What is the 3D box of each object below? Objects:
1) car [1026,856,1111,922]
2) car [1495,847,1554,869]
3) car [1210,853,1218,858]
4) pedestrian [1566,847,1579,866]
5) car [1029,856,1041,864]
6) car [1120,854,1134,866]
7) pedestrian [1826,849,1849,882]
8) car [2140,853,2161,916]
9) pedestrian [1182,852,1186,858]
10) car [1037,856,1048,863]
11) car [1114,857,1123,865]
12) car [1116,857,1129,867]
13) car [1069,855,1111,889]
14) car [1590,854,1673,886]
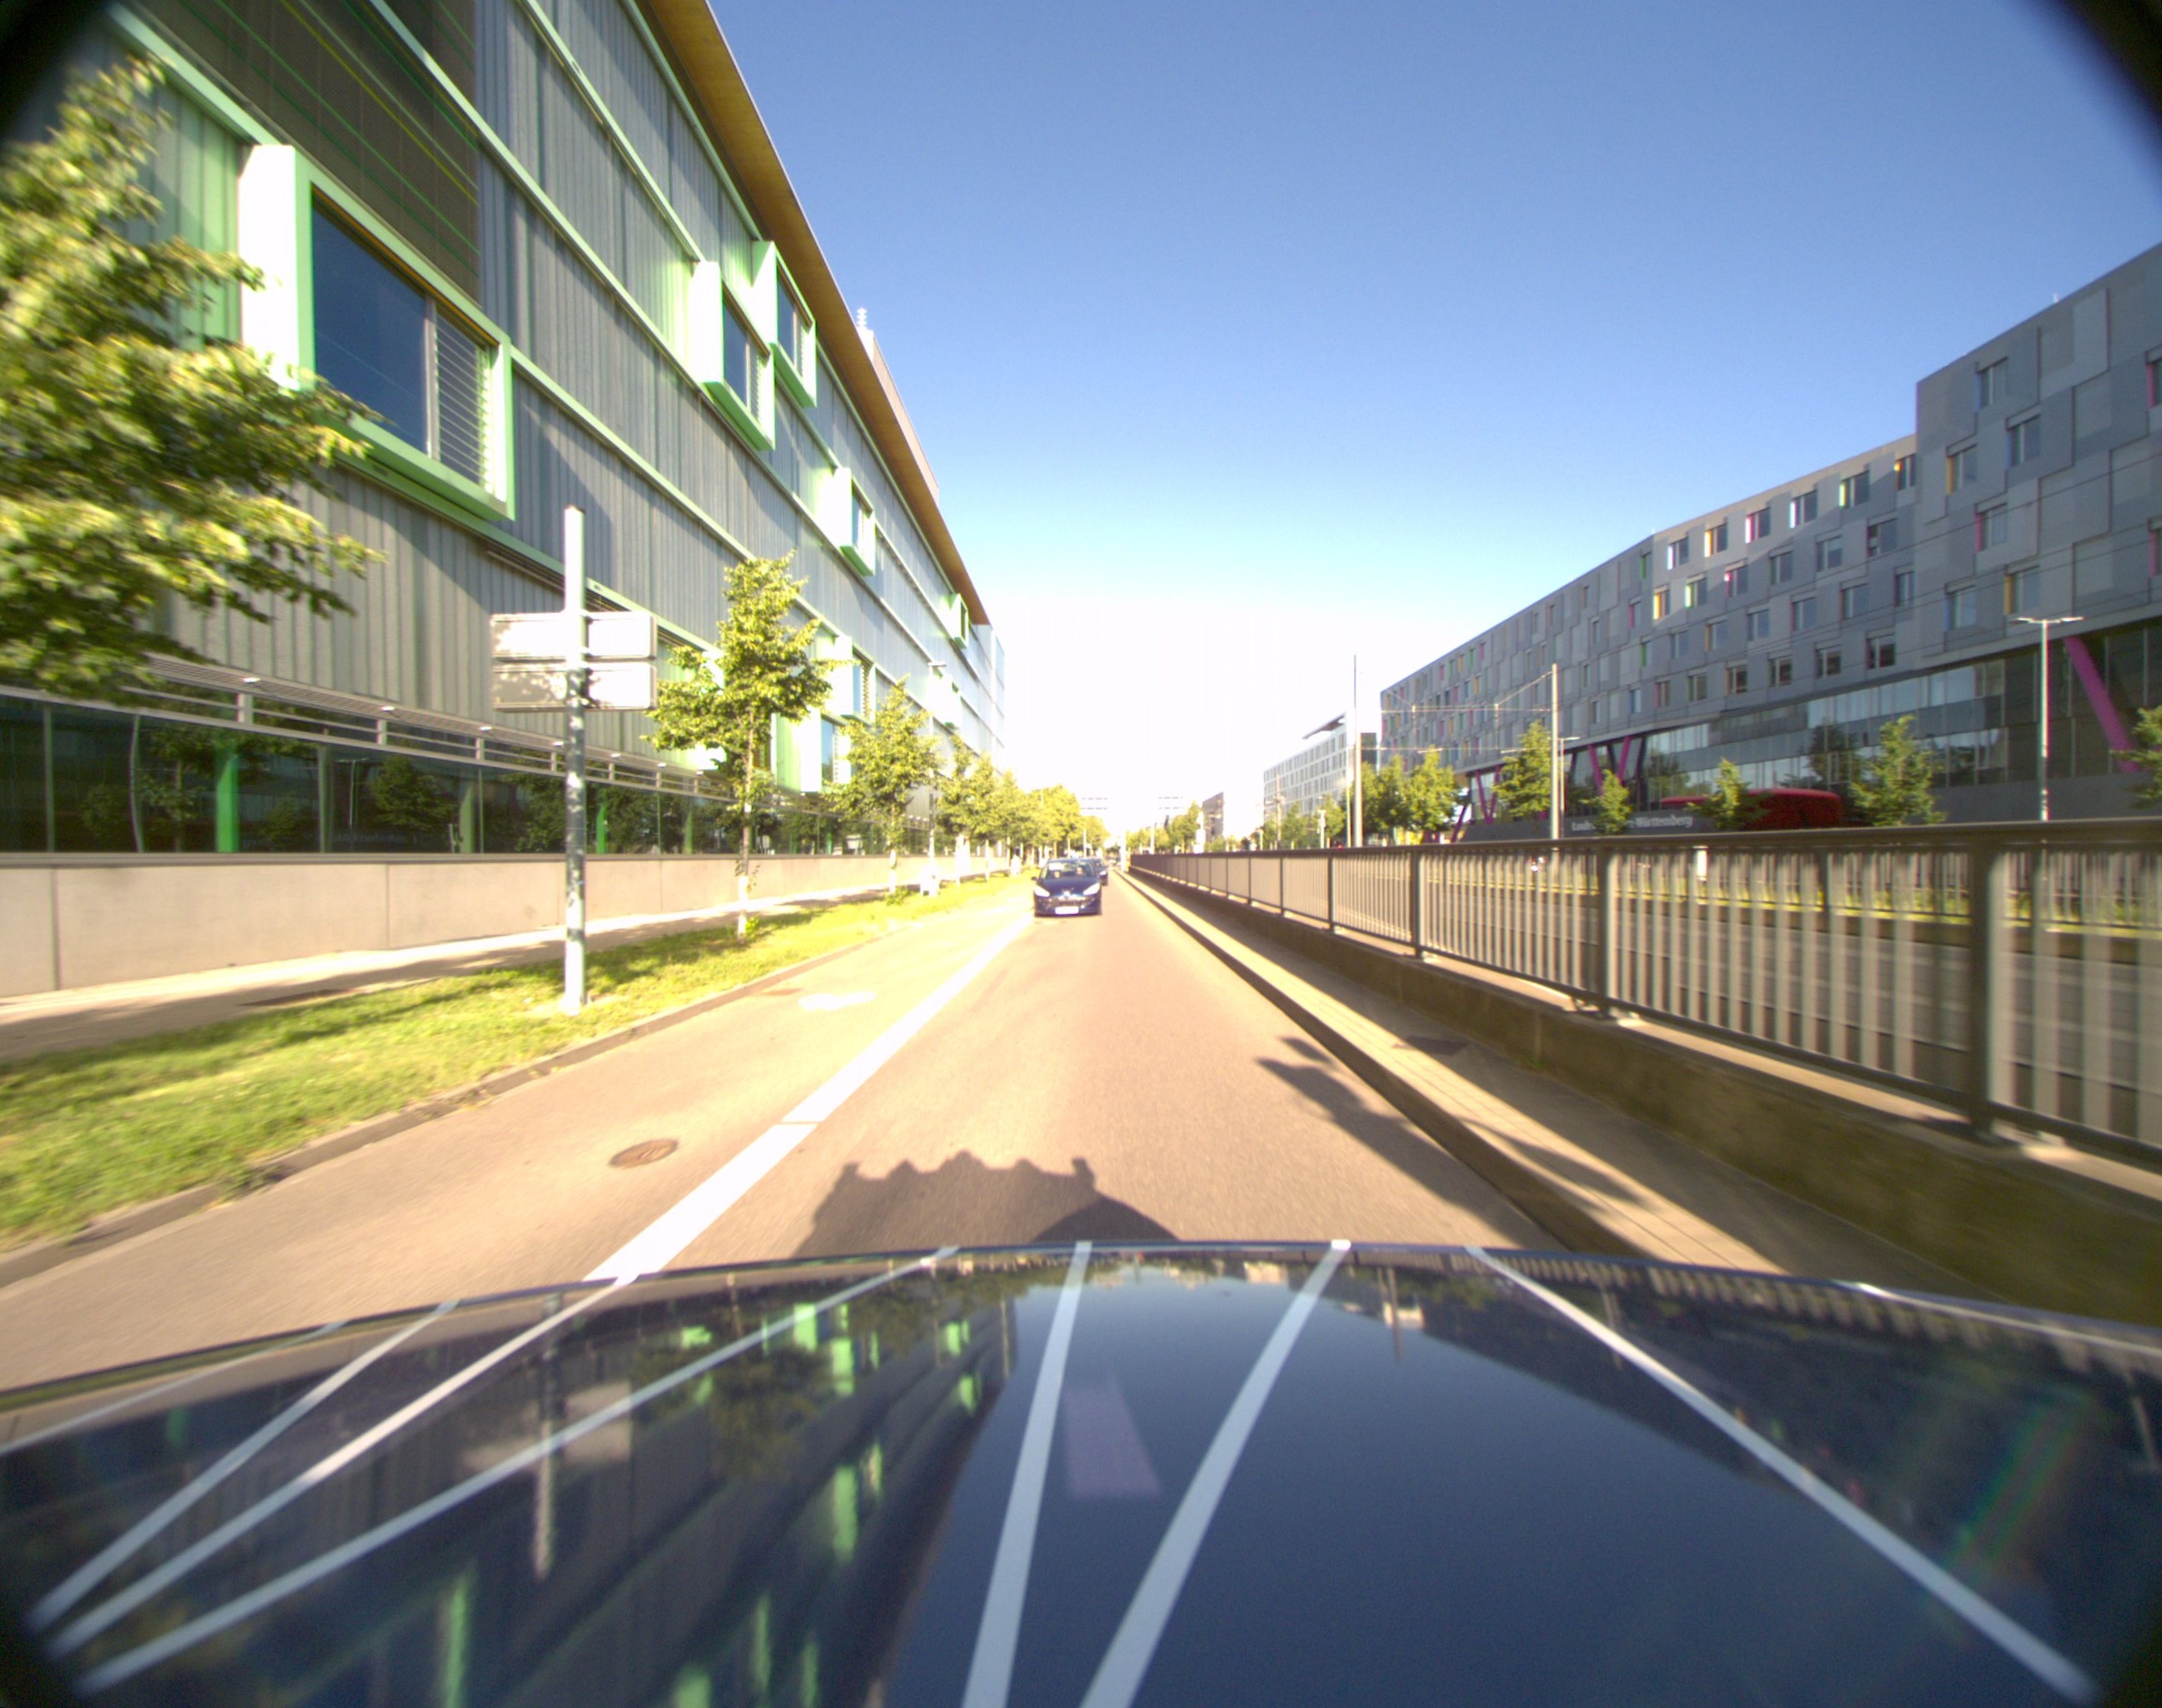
[{"bbox_3d":[-0.222,0.856,20.847,1.802,1.518,4.607,-2,0,5],"label":"car"},{"bbox_3d":[33.307,0.277,57.245,1.802,1.518,4.719,3,0,3],"label":"car"},{"bbox_3d":[41.358,0.463,236.714,1.875,1.347,4.001,-2,0,3],"label":"car"},{"bbox_3d":[46.319,0.221,71.618,0.722,1.811,0.871,-1,0,2],"label":"pedestrian"},{"bbox_3d":[-9.648,1.269,159.112,1.898,1.456,4.038,-1,0,5],"label":"car"},{"bbox_3d":[5.778,0.783,95.882,1.675,1.418,4.006,-2,0,3],"label":"car"},{"bbox_3d":[46.546,0.708,46.750,0.738,2.002,0.689,-1,1,2],"label":"pedestrian"},{"bbox_3d":[32.590,0.896,20.670,1.998,1.828,4.000,0,0,1],"label":"car"},{"bbox_3d":[26.184,0.148,193.285,1.068,1.458,0.844,-1,0,7],"label":"pedestrian"},{"bbox_3d":[-8.734,1.302,172.912,1.898,1.479,4.348,-1,0,6],"label":"car"},{"bbox_3d":[8.673,1.626,177.221,1.998,1.543,4.000,-3,0,2],"label":"car"},{"bbox_3d":[6.495,1.199,119.270,1.839,1.483,4.006,-2,0,3],"label":"car"},{"bbox_3d":[0.521,0.851,38.035,1.802,1.518,4.606,-2,0,3],"label":"car"},{"bbox_3d":[32.484,0.895,44.998,1.998,1.828,4.000,0,0,1],"label":"car"}]
